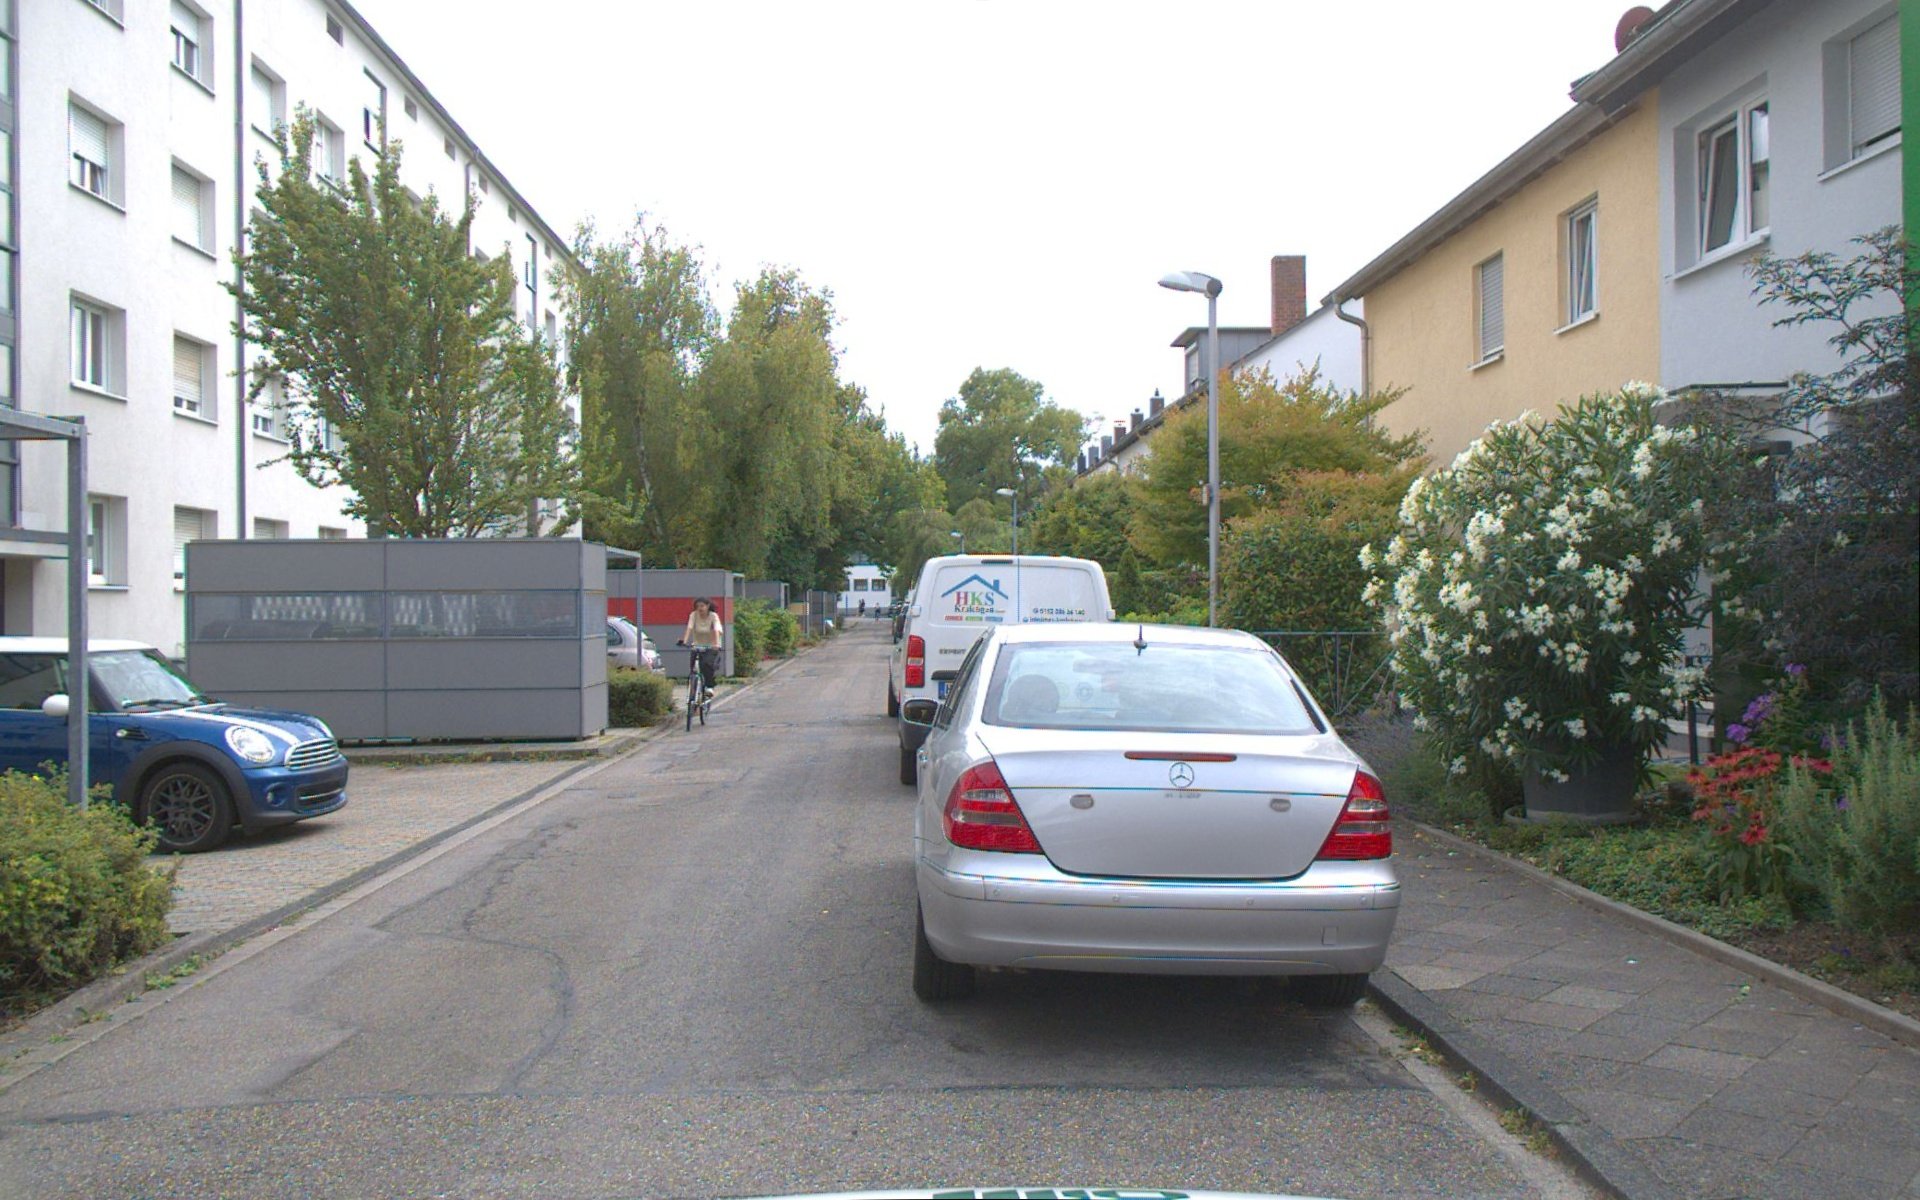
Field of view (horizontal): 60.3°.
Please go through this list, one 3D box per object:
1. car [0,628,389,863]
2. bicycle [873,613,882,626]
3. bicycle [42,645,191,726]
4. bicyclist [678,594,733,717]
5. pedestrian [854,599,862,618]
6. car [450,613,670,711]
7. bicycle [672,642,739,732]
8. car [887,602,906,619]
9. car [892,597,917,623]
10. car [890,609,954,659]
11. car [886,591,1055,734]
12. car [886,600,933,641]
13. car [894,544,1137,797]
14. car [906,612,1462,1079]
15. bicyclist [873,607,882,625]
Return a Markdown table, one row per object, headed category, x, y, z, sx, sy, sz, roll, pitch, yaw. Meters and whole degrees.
| category | x | y | z | sx | sy | sz | roll | pitch | yaw |
| --- | --- | --- | --- | --- | --- | --- | --- | --- | --- |
| car | -6.199 | 1.011 | 11.896 | 3.560 | 1.487 | 1.653 | -2 | 0 | 1 |
| bicycle | -7.167 | 1.701 | 143.646 | 0.675 | 1.151 | 2.579 | 1 | 0 | 0 |
| bicycle | -11.748 | 1.176 | 23.079 | 1.796 | 1.042 | 0.471 | -1 | 0 | -44 |
| bicyclist | -3.419 | 0.738 | 22.265 | 0.585 | 1.608 | 0.767 | -2 | 0 | -1 |
| pedestrian | -10.442 | 0.875 | 168.950 | 0.761 | 1.837 | 0.547 | 1 | -1 | -4 |
| car | -6.890 | 1.052 | 28.777 | 3.494 | 1.506 | 1.708 | -2 | 0 | -7 |
| bicycle | -3.405 | 1.148 | 22.296 | 0.585 | 1.095 | 2.042 | -2 | 0 | -1 |
| car | -6.318 | 1.027 | 165.283 | 1.788 | 1.609 | 3.998 | 1 | 0 | -2 |
| car | -4.145 | 0.756 | 124.337 | 1.788 | 1.916 | 3.998 | 1 | 0 | -2 |
| car | -1.157 | 0.979 | 49.169 | 1.788 | 1.394 | 4.329 | 1 | 0 | -2 |
| car | 0.039 | 0.742 | 21.470 | 1.789 | 1.664 | 4.157 | 1 | 0 | -5 |
| car | -2.099 | 0.823 | 67.804 | 1.789 | 1.609 | 3.997 | 1 | 0 | -4 |
| car | 0.345 | 0.574 | 15.781 | 1.866 | 1.999 | 5.250 | 1 | 0 | -3 |
| car | 0.683 | 0.795 | 7.450 | 1.747 | 1.445 | 4.454 | 1 | 0 | -1 |
| bicyclist | -7.159 | 1.372 | 143.634 | 0.782 | 1.537 | 0.934 | 1 | -1 | 0 |
